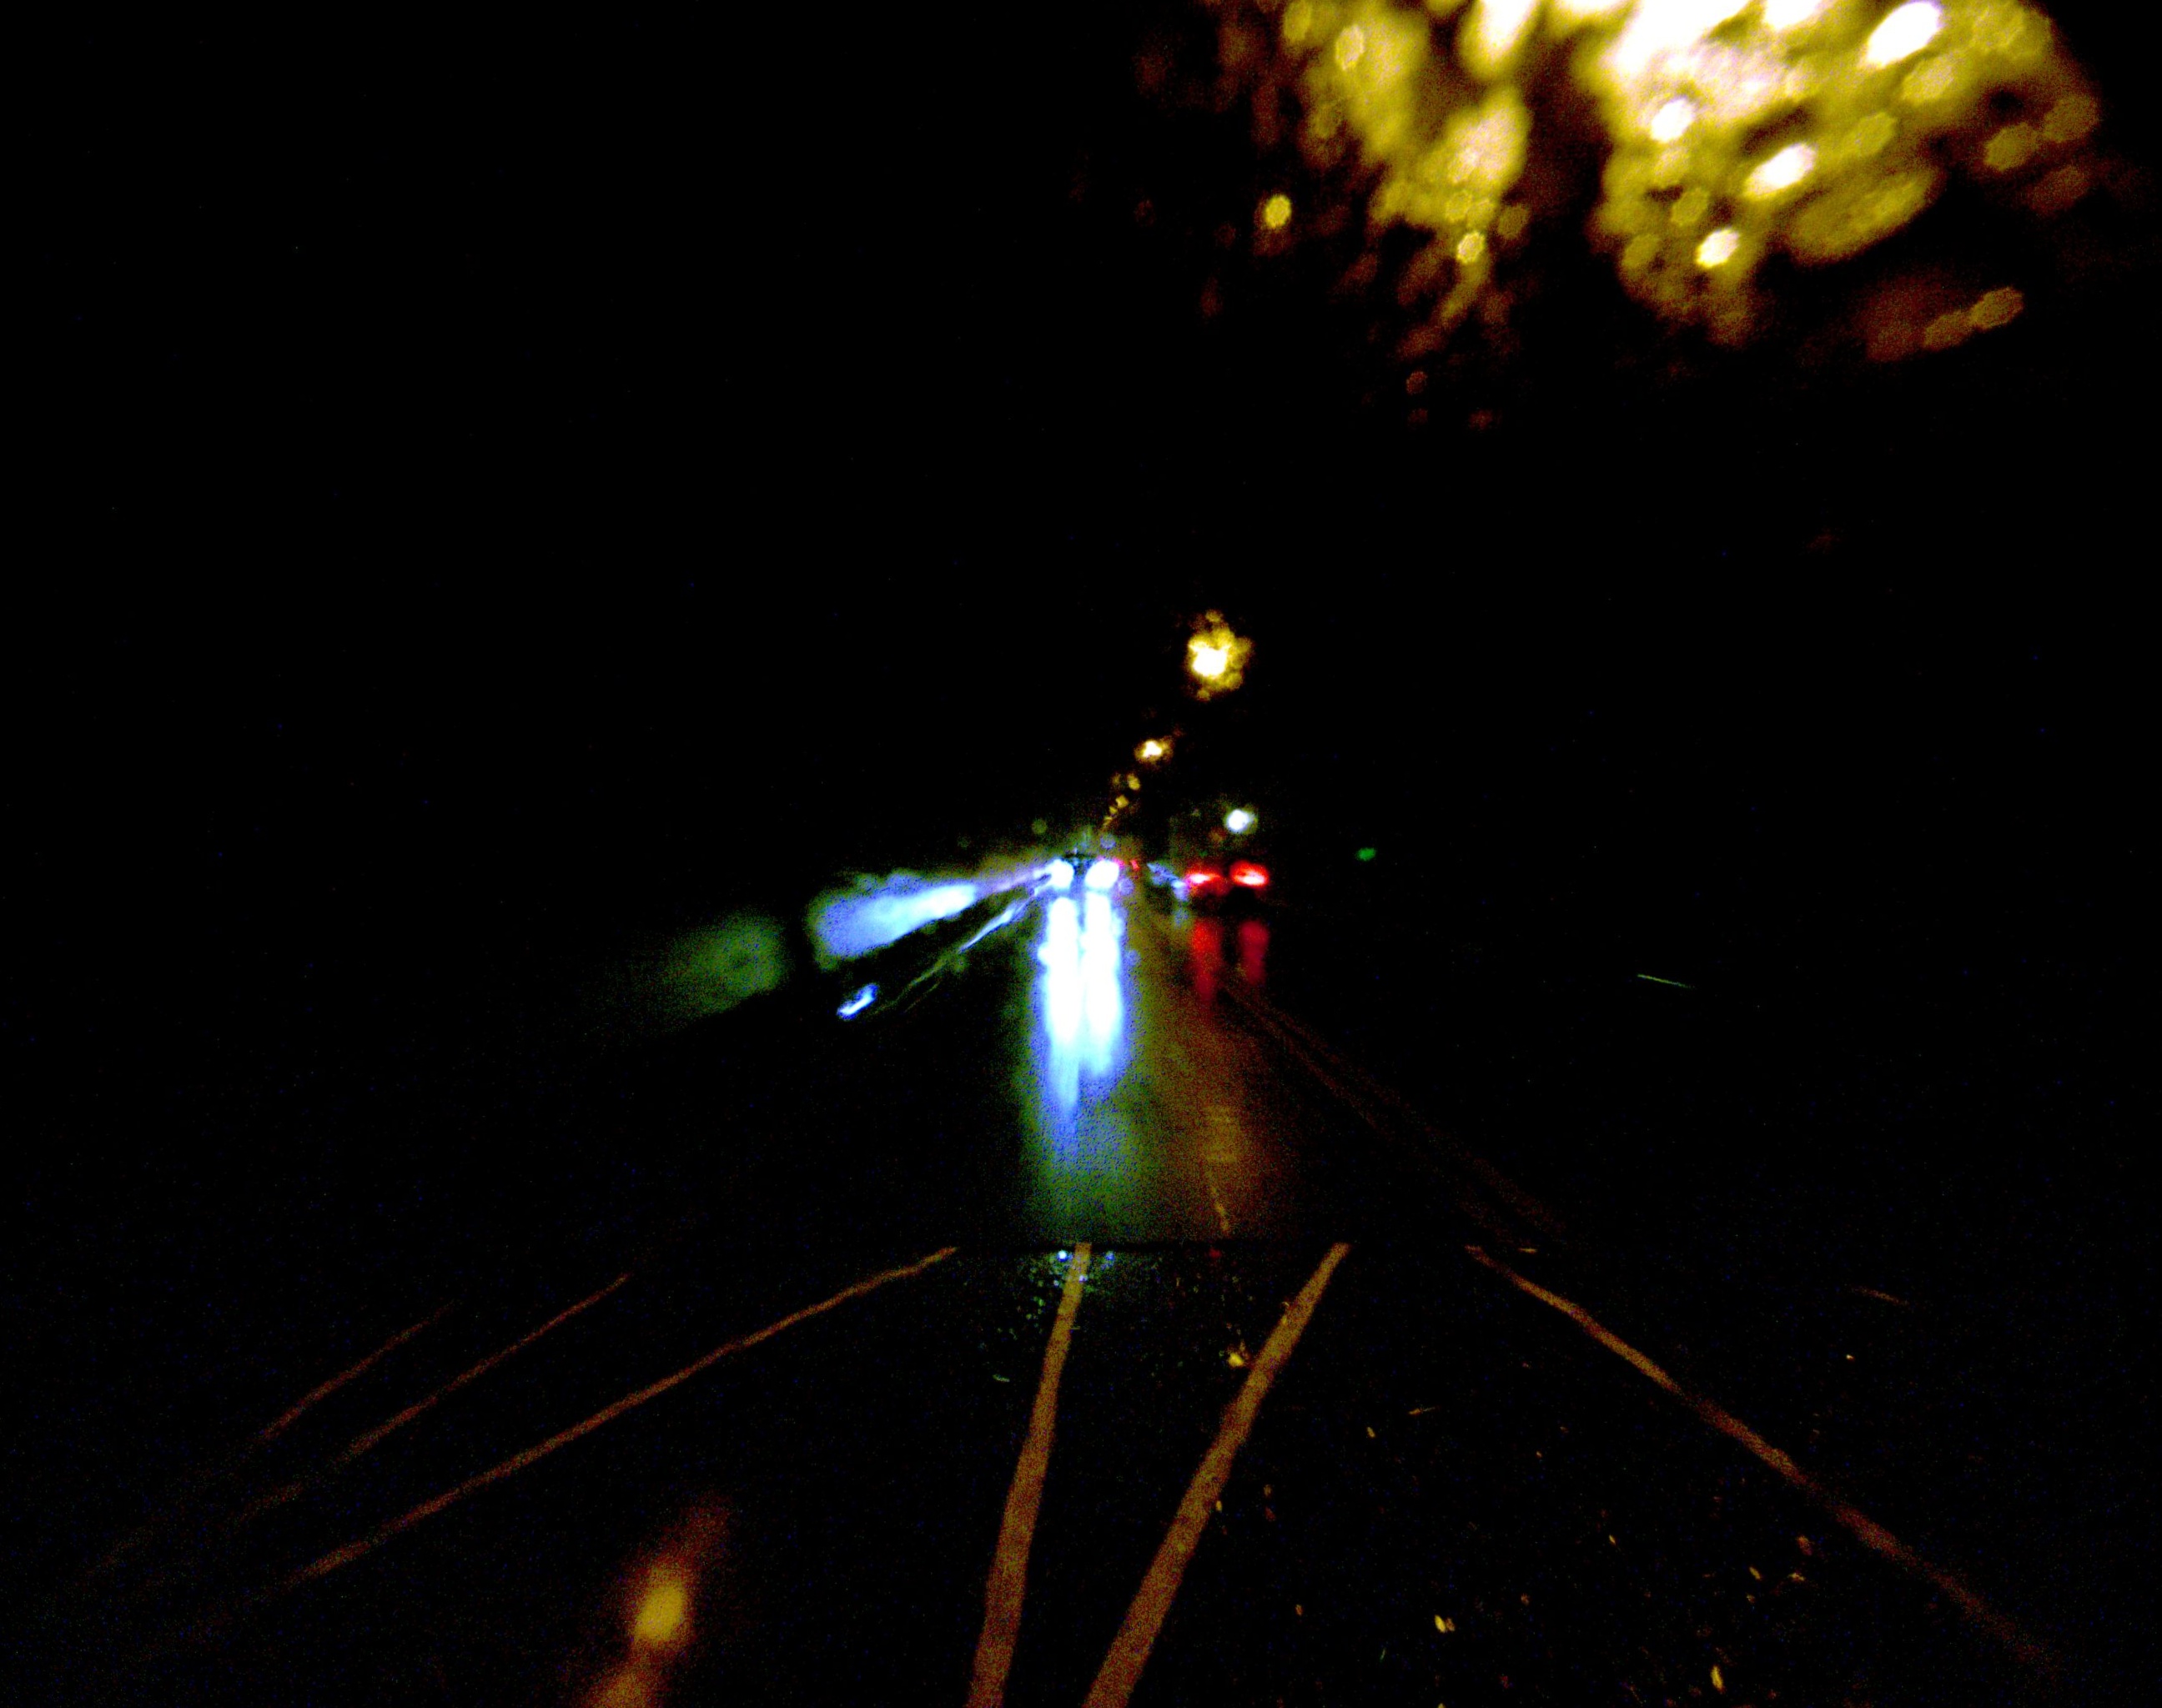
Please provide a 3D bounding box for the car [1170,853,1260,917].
[{"bbox_3d":[3.528,0.752,20.600,1.761,1.519,3.814,-2,0,1],"label":"car"}]

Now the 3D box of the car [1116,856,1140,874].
[{"bbox_3d":[3.950,0.900,64.496,1.799,1.474,3.868,0,0,-1],"label":"car"}]

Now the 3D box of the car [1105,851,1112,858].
[{"bbox_3d":[6.901,0.077,190.994,1.733,1.781,3.932,-1,0,1],"label":"car"}]

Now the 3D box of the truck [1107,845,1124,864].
[{"bbox_3d":[5.407,0.087,119.161,2.285,2.999,6.593,0,0,-1],"label":"truck"}]

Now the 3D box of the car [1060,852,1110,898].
[{"bbox_3d":[0.173,0.772,30.048,1.829,1.650,3.929,1,0,1],"label":"car"}]
